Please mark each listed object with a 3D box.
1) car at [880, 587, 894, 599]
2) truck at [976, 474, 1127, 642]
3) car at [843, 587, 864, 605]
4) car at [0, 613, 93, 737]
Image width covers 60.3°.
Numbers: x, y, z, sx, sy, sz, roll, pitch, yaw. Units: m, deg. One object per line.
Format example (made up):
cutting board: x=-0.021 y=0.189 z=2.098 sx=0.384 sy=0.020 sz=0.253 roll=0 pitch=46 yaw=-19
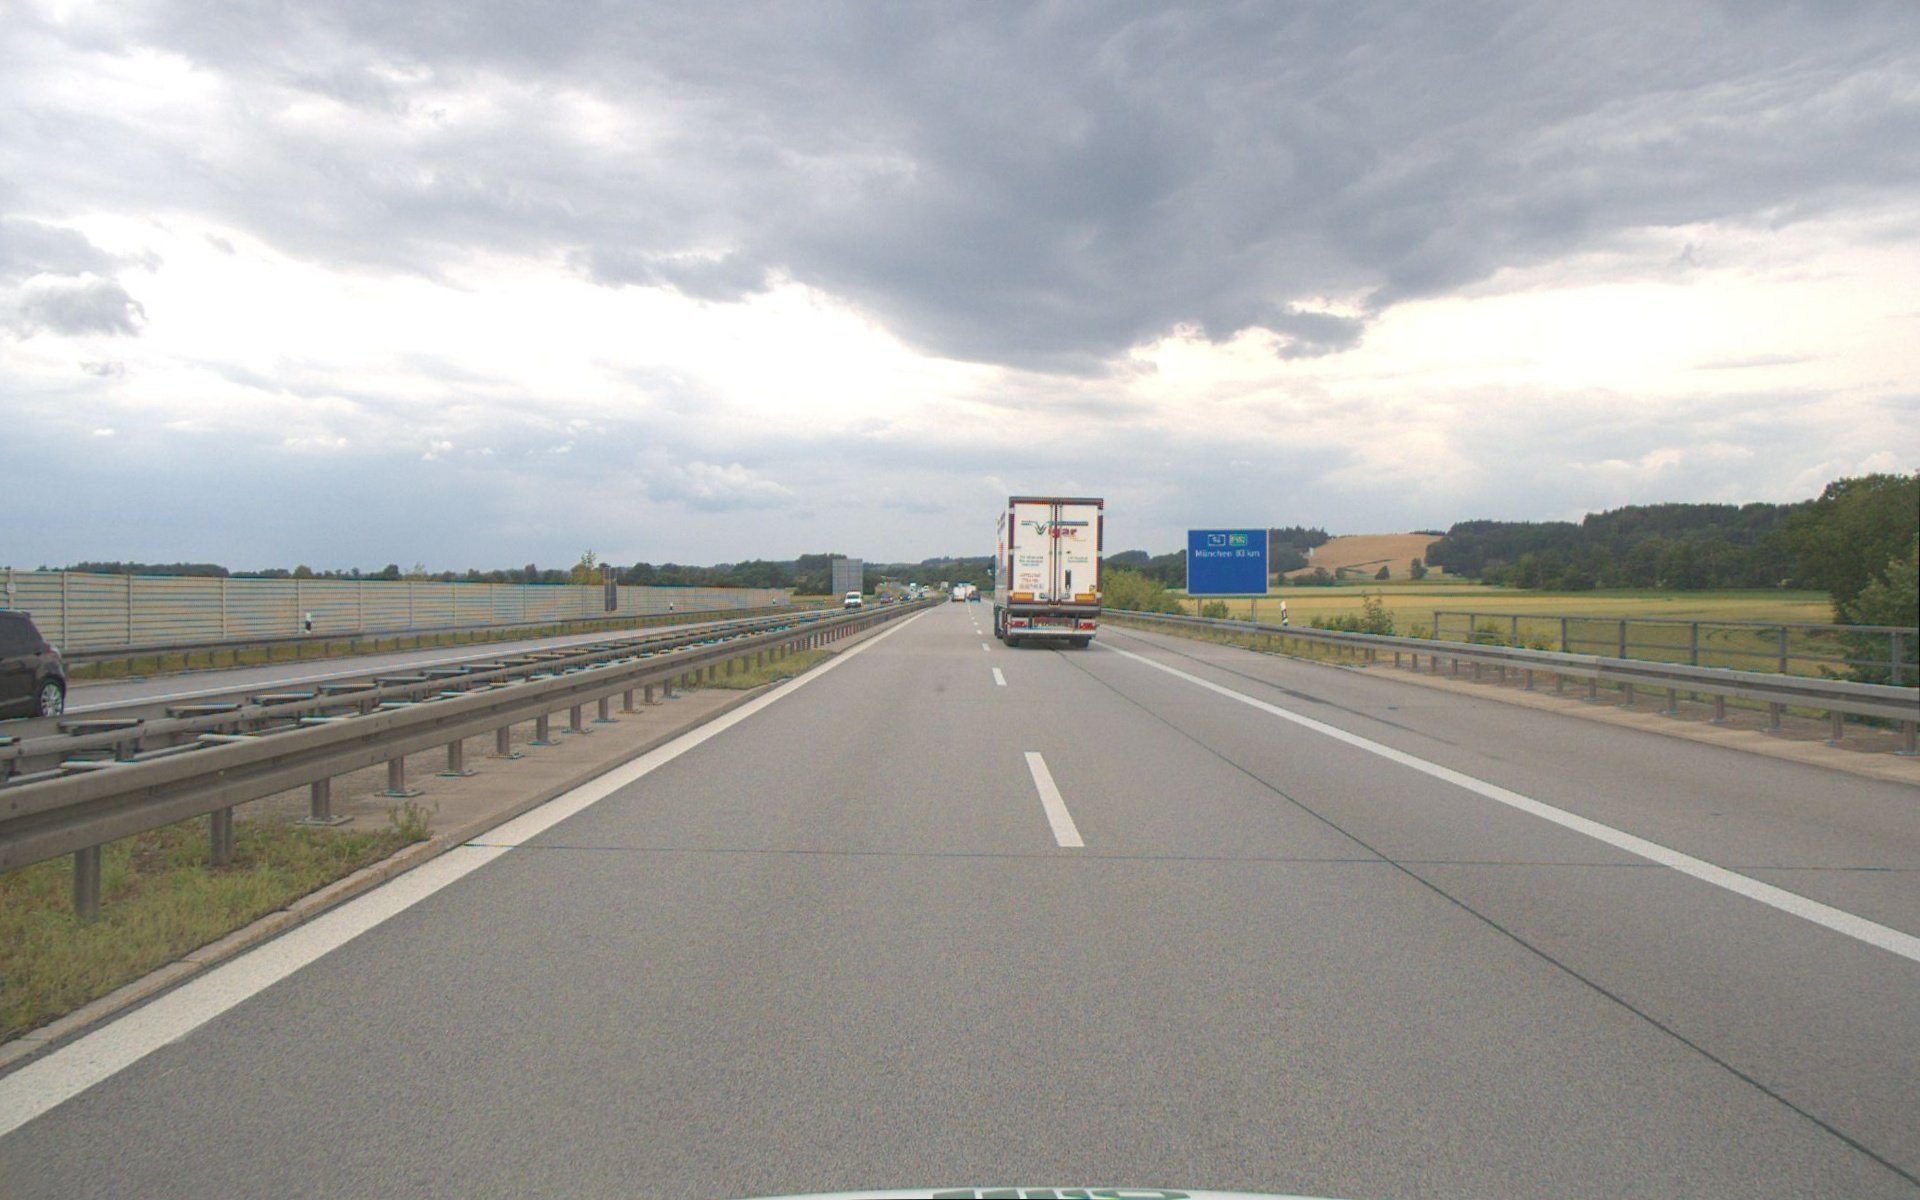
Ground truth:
car: x=-10.787 y=-0.976 z=244.300 sx=1.856 sy=1.660 sz=4.174 roll=-3 pitch=0 yaw=0
truck: x=2.535 y=-1.183 z=52.249 sx=3.598 sy=4.489 sz=16.338 roll=0 pitch=0 yaw=-1
car: x=-11.304 y=-0.442 z=175.663 sx=1.720 sy=1.772 sz=4.913 roll=4 pitch=0 yaw=0
car: x=-11.937 y=0.902 z=19.201 sx=1.636 sy=1.410 sz=3.999 roll=-2 pitch=0 yaw=-1
